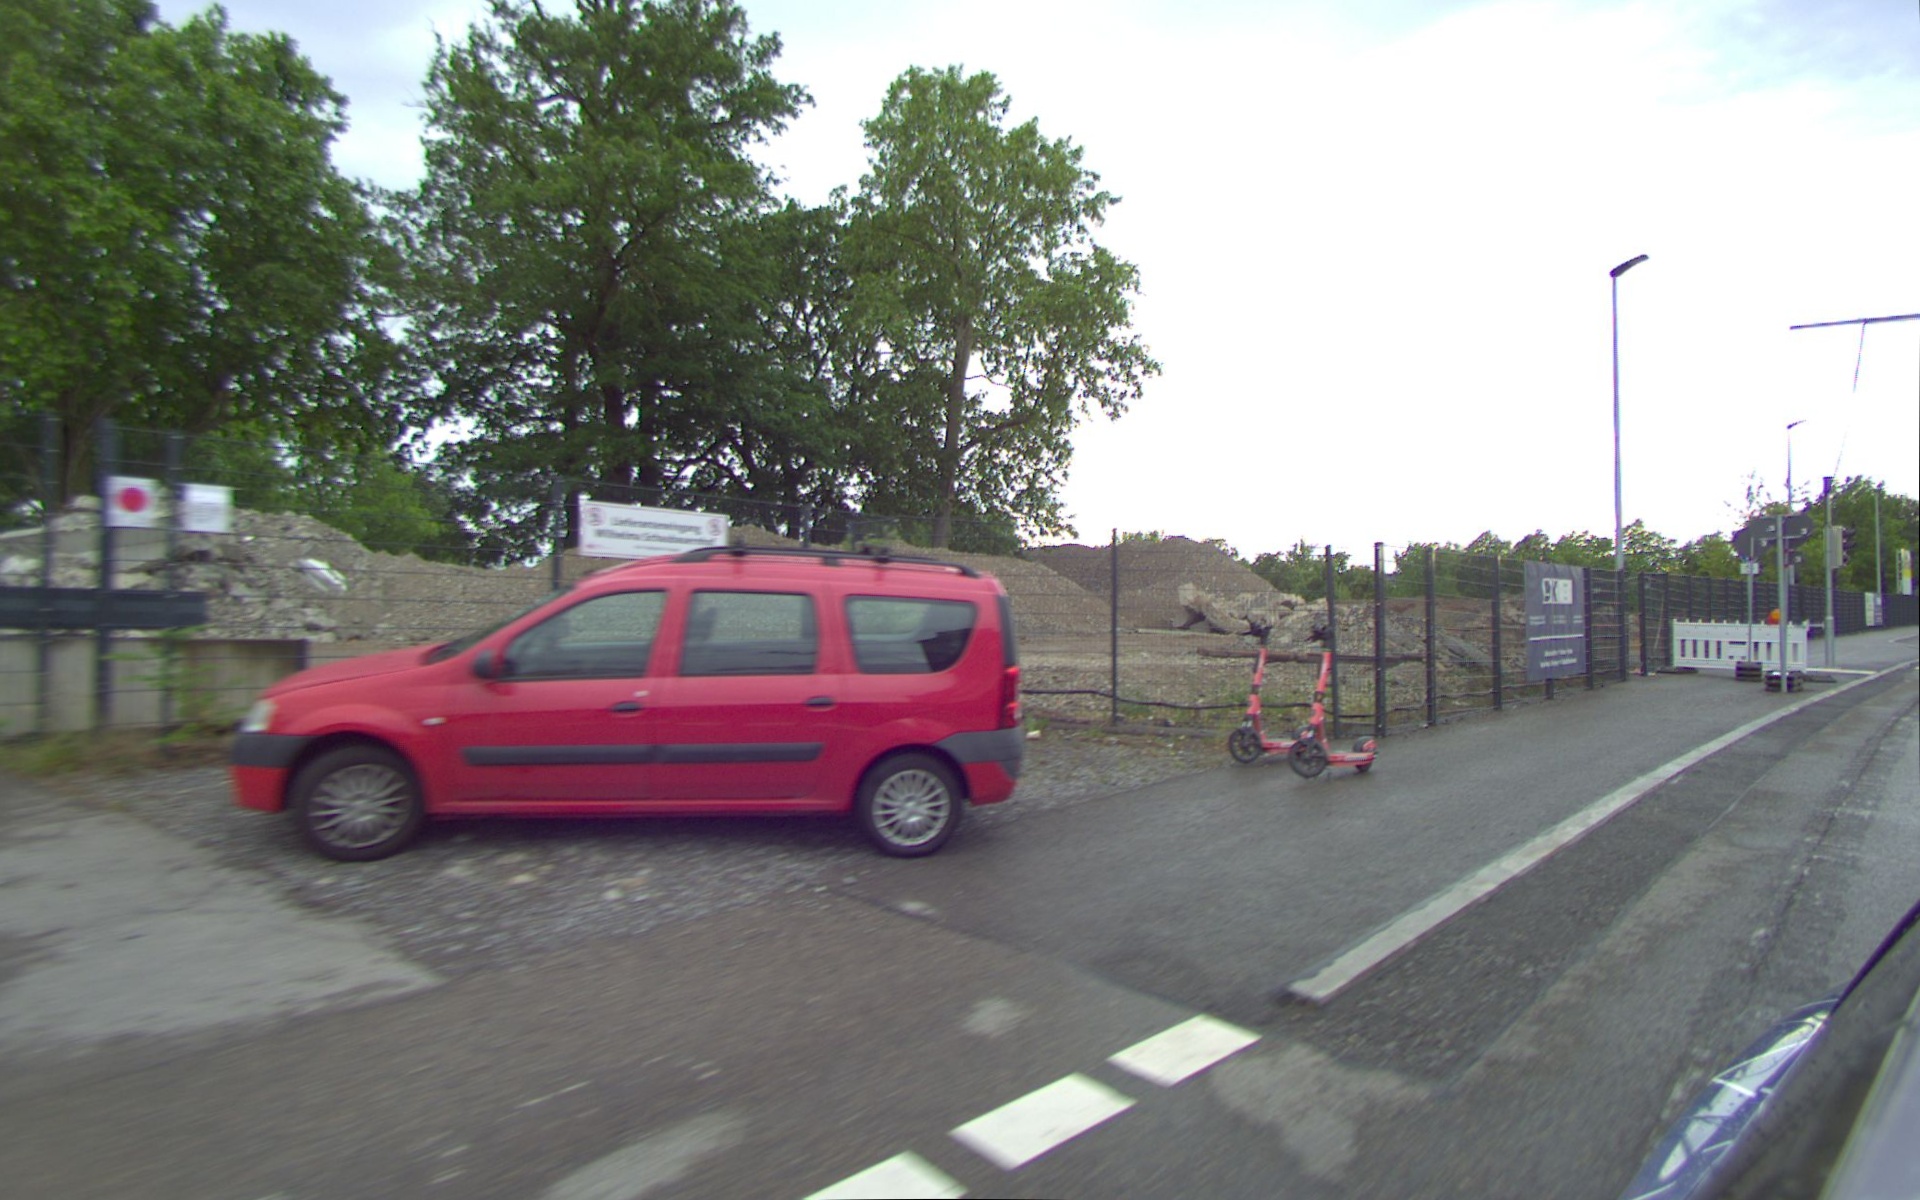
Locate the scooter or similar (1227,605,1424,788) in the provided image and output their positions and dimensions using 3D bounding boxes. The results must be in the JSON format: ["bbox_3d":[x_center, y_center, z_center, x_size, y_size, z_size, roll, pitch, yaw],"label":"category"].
[{"bbox_3d":[3.074,0.729,8.433,1.877,1.368,0.616,0,-1,-37],"label":"scooter or similar"}]

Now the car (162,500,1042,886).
[{"bbox_3d":[-1.849,0.435,6.127,4.316,1.817,1.828,0,-1,-12],"label":"car"}]

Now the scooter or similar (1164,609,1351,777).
[{"bbox_3d":[2.720,0.775,9.158,1.877,1.368,0.616,0,-1,-37],"label":"scooter or similar"}]
